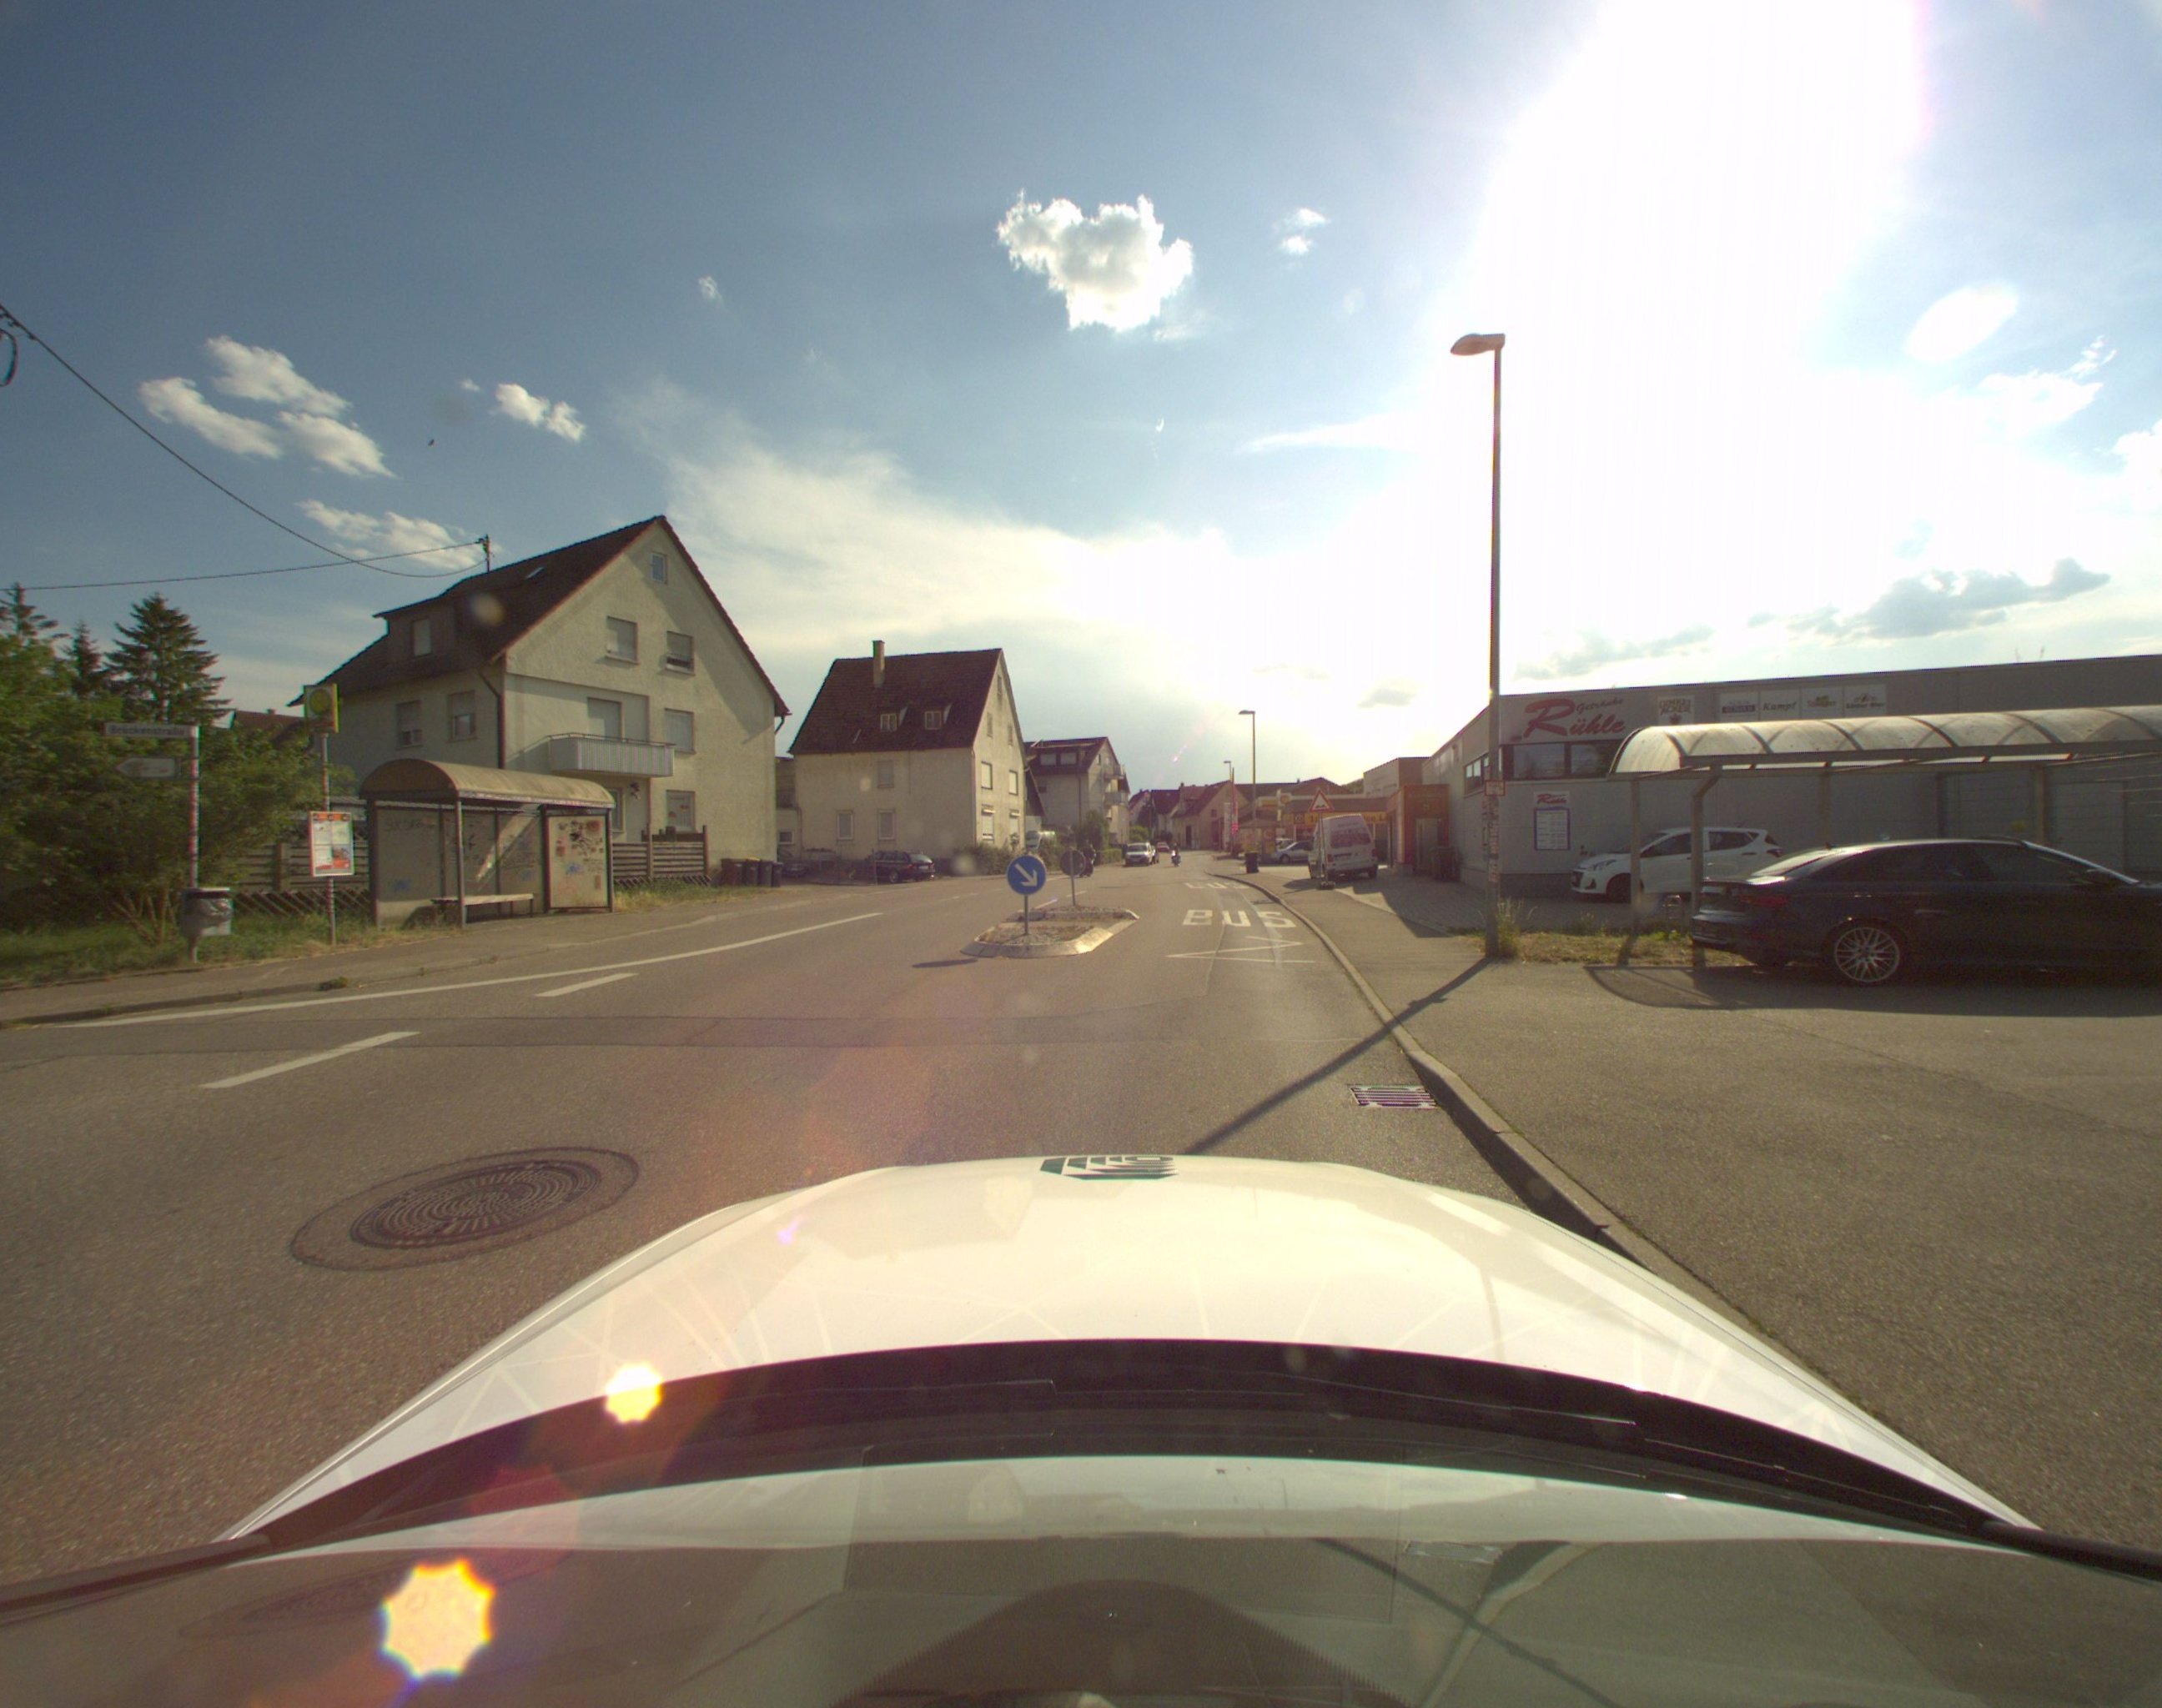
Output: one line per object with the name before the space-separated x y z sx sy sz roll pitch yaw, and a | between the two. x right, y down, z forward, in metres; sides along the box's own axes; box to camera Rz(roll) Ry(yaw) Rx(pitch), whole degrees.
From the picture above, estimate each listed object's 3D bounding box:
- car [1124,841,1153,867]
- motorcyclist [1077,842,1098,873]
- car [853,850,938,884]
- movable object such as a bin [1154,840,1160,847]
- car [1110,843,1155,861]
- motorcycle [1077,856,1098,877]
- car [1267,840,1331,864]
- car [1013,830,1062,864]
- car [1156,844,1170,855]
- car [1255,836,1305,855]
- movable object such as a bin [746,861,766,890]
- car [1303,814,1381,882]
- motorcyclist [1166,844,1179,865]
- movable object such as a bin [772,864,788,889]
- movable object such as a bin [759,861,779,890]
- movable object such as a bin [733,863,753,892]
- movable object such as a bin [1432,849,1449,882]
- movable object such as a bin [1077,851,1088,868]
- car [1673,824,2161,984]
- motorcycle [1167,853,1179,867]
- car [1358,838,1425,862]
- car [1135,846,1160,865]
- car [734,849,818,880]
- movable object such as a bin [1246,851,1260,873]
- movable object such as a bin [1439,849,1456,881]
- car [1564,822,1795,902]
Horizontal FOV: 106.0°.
car | 4.416 0.002 62.495 1.705 1.872 4.204 -2 1 10
motorcyclist | 0.321 0.183 40.828 0.731 1.527 1.021 2 0 15
car | -8.625 0.572 37.718 3.948 1.433 1.664 1 1 37
movable object such as a bin | 15.082 -2.084 161.449 1.158 1.168 0.654 -1 1 -3
car | 5.054 -0.203 79.575 3.954 1.538 1.772 4 2 20
motorcycle | 0.343 0.637 40.976 0.534 1.012 2.036 1 0 15
car | 14.714 -0.133 55.080 3.966 1.531 1.530 -1 1 6
car | -3.427 -0.584 65.483 2.143 2.595 6.118 0 1 14
car | 11.247 -0.671 112.317 1.702 1.434 3.783 -3 0 2
car | 16.806 -0.724 68.912 3.963 1.608 2.005 -1 1 9
movable object such as a bin | -11.603 0.769 29.078 0.358 1.041 0.561 -1 -1 26
car | 10.136 -0.240 32.029 1.827 2.374 5.187 -3 0 6
motorcyclist | 6.547 0.039 57.962 0.797 1.436 1.040 0 1 13
movable object such as a bin | -11.123 0.822 30.101 0.358 0.925 0.402 -1 -1 26
movable object such as a bin | -11.343 0.781 29.608 0.358 1.023 0.580 -1 -1 26
movable object such as a bin | -11.857 0.811 28.559 0.358 1.016 0.561 -1 -1 26
movable object such as a bin | 11.456 0.354 25.984 0.425 1.042 0.492 -1 1 17
movable object such as a bin | 0.109 0.363 52.135 0.607 1.101 0.577 0 0 10
car | 8.794 0.488 8.371 4.035 1.416 1.632 -2 0 14
motorcycle | 6.567 0.427 58.053 0.521 1.012 2.035 1 0 14
car | 20.580 -0.254 54.095 3.885 1.467 1.720 -1 2 5
car | 5.629 0.085 68.189 1.662 1.451 3.846 -2 1 10
car | -14.718 0.488 39.234 3.949 1.361 1.697 1 1 32
movable object such as a bin | 8.516 0.401 40.362 0.564 1.075 0.574 -2 0 5
movable object such as a bin | 11.353 0.333 25.259 0.425 0.966 0.432 -1 1 17
car | 12.189 0.163 16.822 3.527 1.457 1.506 -2 1 18
